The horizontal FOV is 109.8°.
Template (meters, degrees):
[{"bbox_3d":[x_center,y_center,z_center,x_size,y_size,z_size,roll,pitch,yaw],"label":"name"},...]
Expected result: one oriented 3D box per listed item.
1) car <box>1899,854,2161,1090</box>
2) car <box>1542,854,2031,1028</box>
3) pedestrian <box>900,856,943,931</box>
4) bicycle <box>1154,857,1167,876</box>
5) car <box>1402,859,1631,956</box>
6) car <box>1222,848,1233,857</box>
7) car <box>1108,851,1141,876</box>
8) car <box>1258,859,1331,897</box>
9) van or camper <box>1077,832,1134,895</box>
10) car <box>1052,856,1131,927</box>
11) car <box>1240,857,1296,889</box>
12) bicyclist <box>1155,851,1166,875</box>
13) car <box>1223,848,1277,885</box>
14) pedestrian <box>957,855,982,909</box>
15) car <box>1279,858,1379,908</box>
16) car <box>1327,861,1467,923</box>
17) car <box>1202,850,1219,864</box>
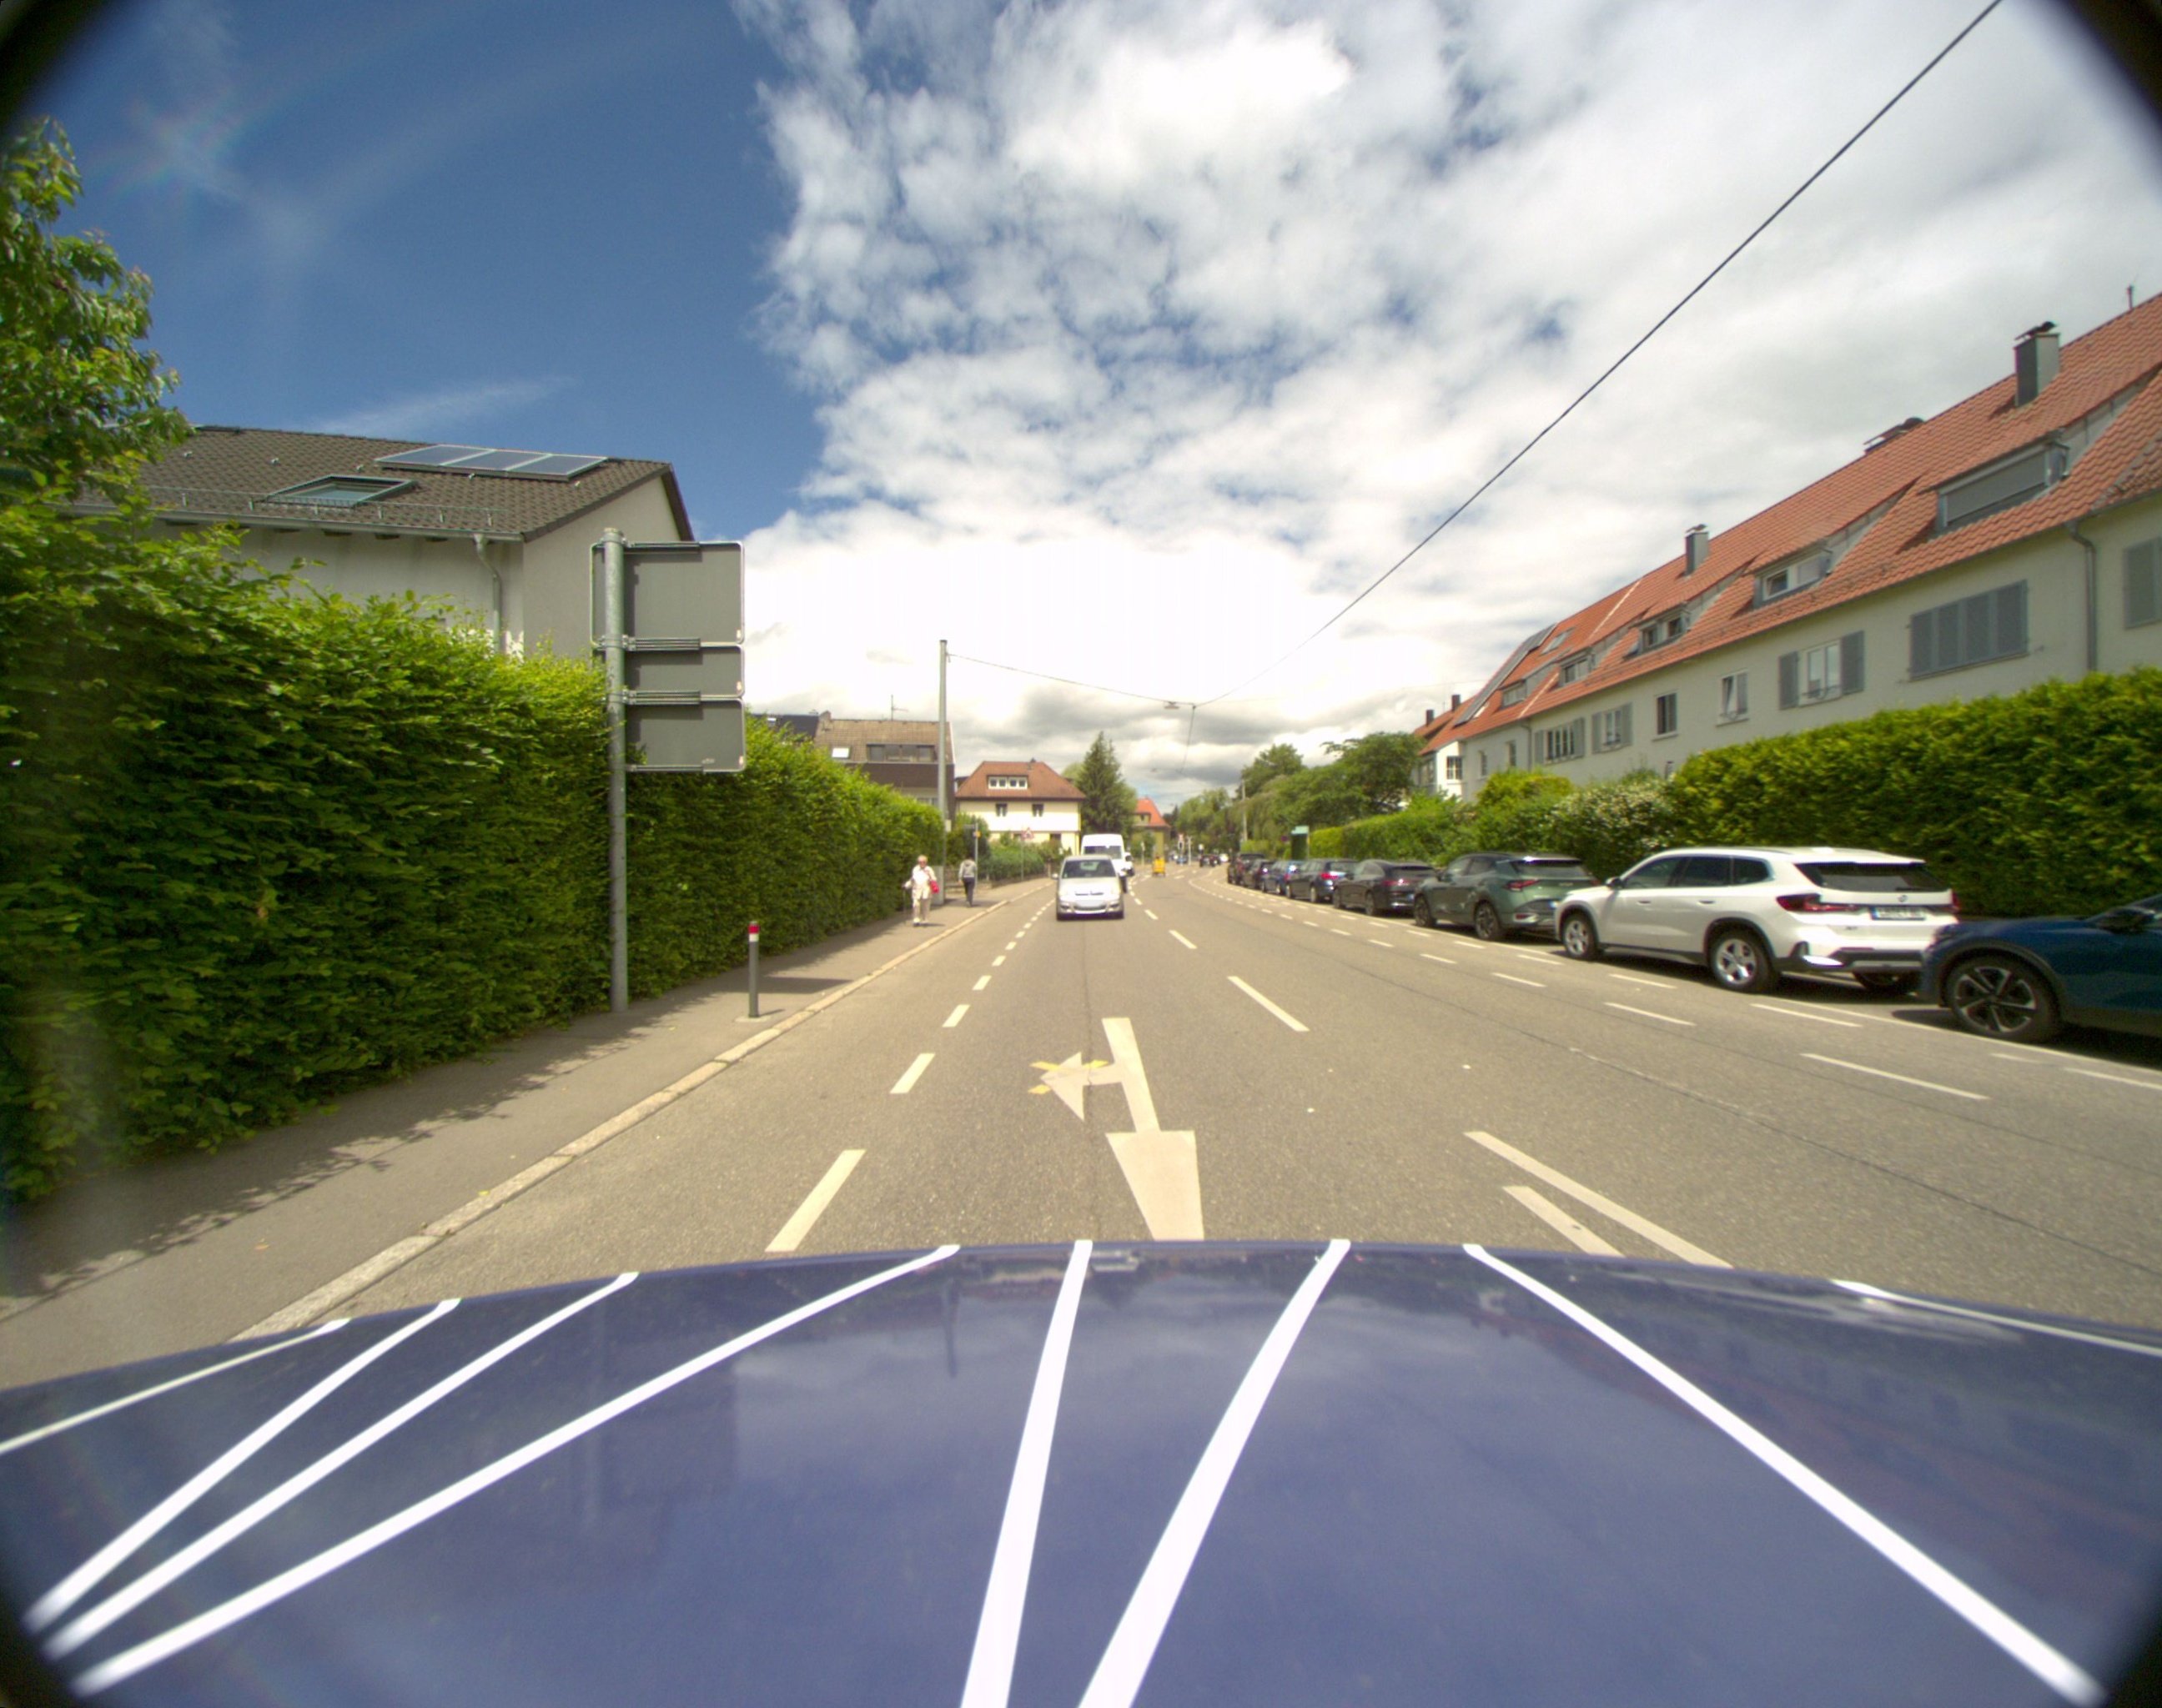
[{"bbox_3d":[8.373,0.810,4.585,1.999,1.578,4.488,-1,0,-1],"label":"car"},{"bbox_3d":[8.171,0.846,9.589,1.998,1.641,4.517,-1,0,0],"label":"car"},{"bbox_3d":[-3.540,0.864,16.913,0.801,1.608,0.653,1,1,2],"label":"pedestrian"},{"bbox_3d":[5.699,0.866,54.528,0.865,1.294,2.662,-1,0,4],"label":"bicycle"},{"bbox_3d":[8.251,0.910,15.017,1.998,1.555,4.690,0,0,2],"label":"car"},{"bbox_3d":[27.333,-0.223,142.041,1.850,1.565,4.162,-1,0,10],"label":"car"},{"bbox_3d":[3.338,0.680,57.915,1.931,1.771,4.003,-2,0,11],"label":"car"},{"bbox_3d":[8.622,0.920,31.039,1.782,1.409,4.440,0,0,1],"label":"car"},{"bbox_3d":[1.226,0.443,34.420,2.029,2.564,5.926,-2,-1,6],"label":"van or camper"},{"bbox_3d":[0.377,0.874,19.472,1.707,1.531,4.332,-2,0,4],"label":"car"},{"bbox_3d":[8.825,0.862,36.256,1.782,1.409,4.340,0,0,3],"label":"car"},{"bbox_3d":[5.707,0.611,54.718,0.794,1.704,1.209,-1,1,5],"label":"bicyclist"},{"bbox_3d":[9.229,0.618,41.956,1.998,1.884,5.404,1,0,3],"label":"car"},{"bbox_3d":[-3.390,0.841,23.141,0.604,1.596,0.836,1,1,2],"label":"pedestrian"},{"bbox_3d":[8.310,0.903,25.884,1.782,1.483,4.564,-1,0,-2],"label":"car"},{"bbox_3d":[8.289,0.924,20.460,1.998,1.400,4.690,0,0,2],"label":"car"},{"bbox_3d":[16.564,0.405,96.863,1.919,1.639,4.297,3,1,11],"label":"car"}]
